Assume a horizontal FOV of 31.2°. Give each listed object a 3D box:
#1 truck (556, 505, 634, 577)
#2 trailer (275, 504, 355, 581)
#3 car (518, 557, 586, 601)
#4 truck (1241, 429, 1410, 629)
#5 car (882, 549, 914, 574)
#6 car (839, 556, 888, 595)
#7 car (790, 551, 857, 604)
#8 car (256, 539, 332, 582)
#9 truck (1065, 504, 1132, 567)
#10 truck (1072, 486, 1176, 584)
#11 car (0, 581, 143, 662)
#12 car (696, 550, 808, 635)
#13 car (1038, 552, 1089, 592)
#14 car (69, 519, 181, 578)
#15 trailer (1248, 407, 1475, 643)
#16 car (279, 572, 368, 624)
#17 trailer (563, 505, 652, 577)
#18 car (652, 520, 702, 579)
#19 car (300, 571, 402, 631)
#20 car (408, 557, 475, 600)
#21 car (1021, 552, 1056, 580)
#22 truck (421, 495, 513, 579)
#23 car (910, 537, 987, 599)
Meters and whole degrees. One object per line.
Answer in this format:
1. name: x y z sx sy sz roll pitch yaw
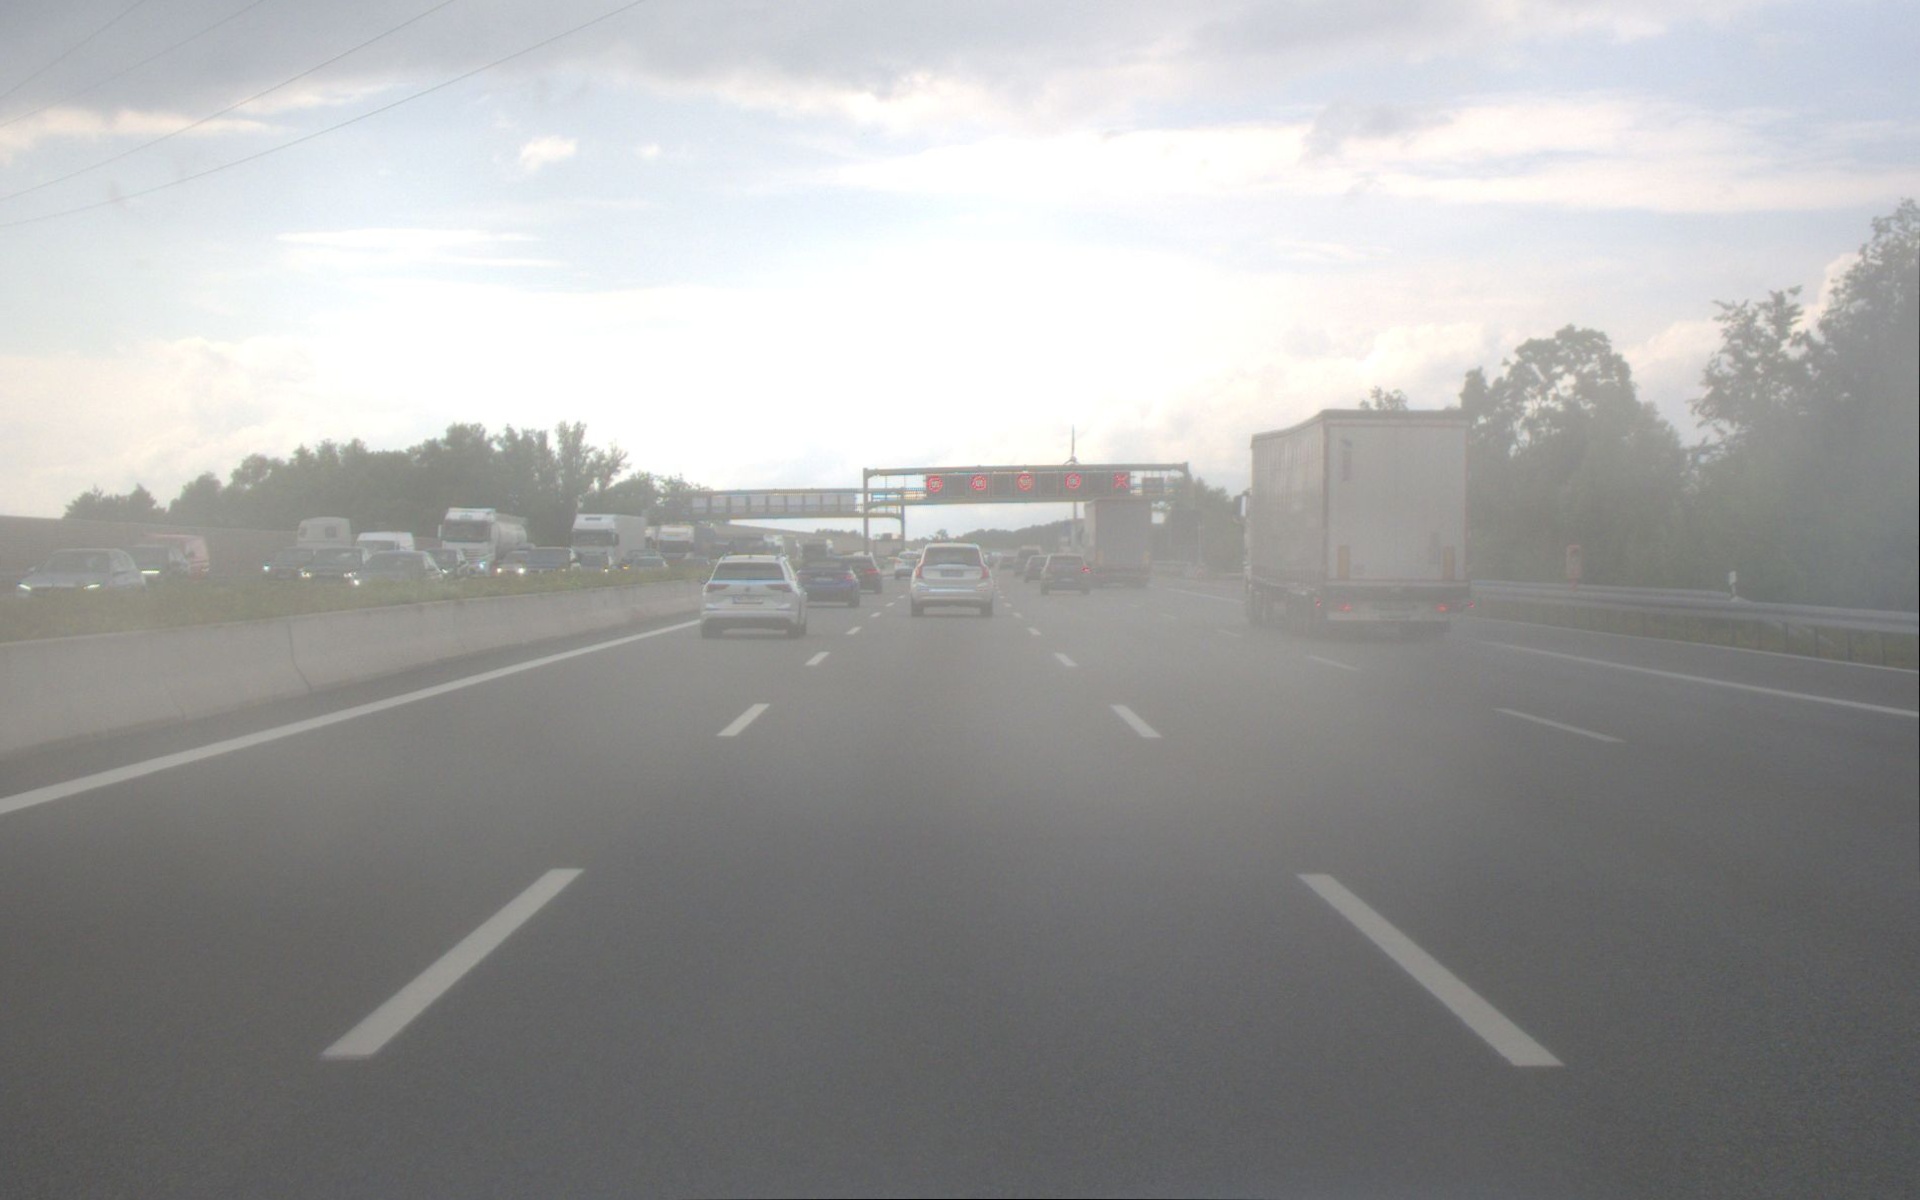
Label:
1. truck: -21.042 -3.392 198.605 3.660 4.034 6.524 1 1 1
2. trailer: -25.321 -2.249 135.194 2.247 2.952 4.901 1 1 -1
3. car: -14.228 -0.738 120.090 1.826 1.449 4.943 1 1 -1
4. truck: 7.606 -1.476 72.363 2.961 4.006 6.588 1 1 1
5. car: -3.689 -2.280 204.126 1.772 1.436 4.055 1 1 1
6. car: -3.622 -0.944 129.461 1.772 1.436 4.056 1 1 -1
7. car: -3.843 -0.647 97.095 1.772 1.436 4.055 1 1 -1
8. car: -25.226 -1.496 130.333 1.965 1.590 4.821 1 1 -1
9. truck: 9.514 -4.400 238.072 4.244 4.162 11.989 1 1 1
10. truck: 7.527 -2.986 159.635 4.180 4.273 12.613 1 1 0
11. car: -18.222 0.411 70.480 1.765 1.531 5.161 1 1 -1
12. car: -3.657 -0.157 60.949 1.772 1.436 3.874 1 1 -1
13. car: 3.889 -1.072 129.135 1.836 1.436 4.055 1 1 1
14. car: -21.628 -1.332 89.202 1.765 1.449 4.943 1 1 -1
15. trailer: 7.446 -1.385 65.766 2.961 4.006 14.118 1 1 1
16. car: -18.700 -0.074 101.159 1.765 1.449 4.943 1 1 -1
17. trailer: -20.948 -3.460 205.080 3.660 4.094 13.399 1 1 1
18. car: -20.446 -3.650 248.584 2.982 4.136 6.043 1 1 0
19. car: -15.580 -0.008 88.122 1.765 1.449 5.086 1 1 -1
20. car: -18.155 -0.763 120.497 1.765 1.449 4.234 1 1 -1
21. car: 4.203 -1.843 185.619 1.836 1.436 4.055 1 1 1
22. truck: -26.256 -3.347 183.466 3.660 4.304 8.238 1 1 0
23. car: -0.297 -0.779 82.481 1.772 1.436 4.055 1 1 -1
